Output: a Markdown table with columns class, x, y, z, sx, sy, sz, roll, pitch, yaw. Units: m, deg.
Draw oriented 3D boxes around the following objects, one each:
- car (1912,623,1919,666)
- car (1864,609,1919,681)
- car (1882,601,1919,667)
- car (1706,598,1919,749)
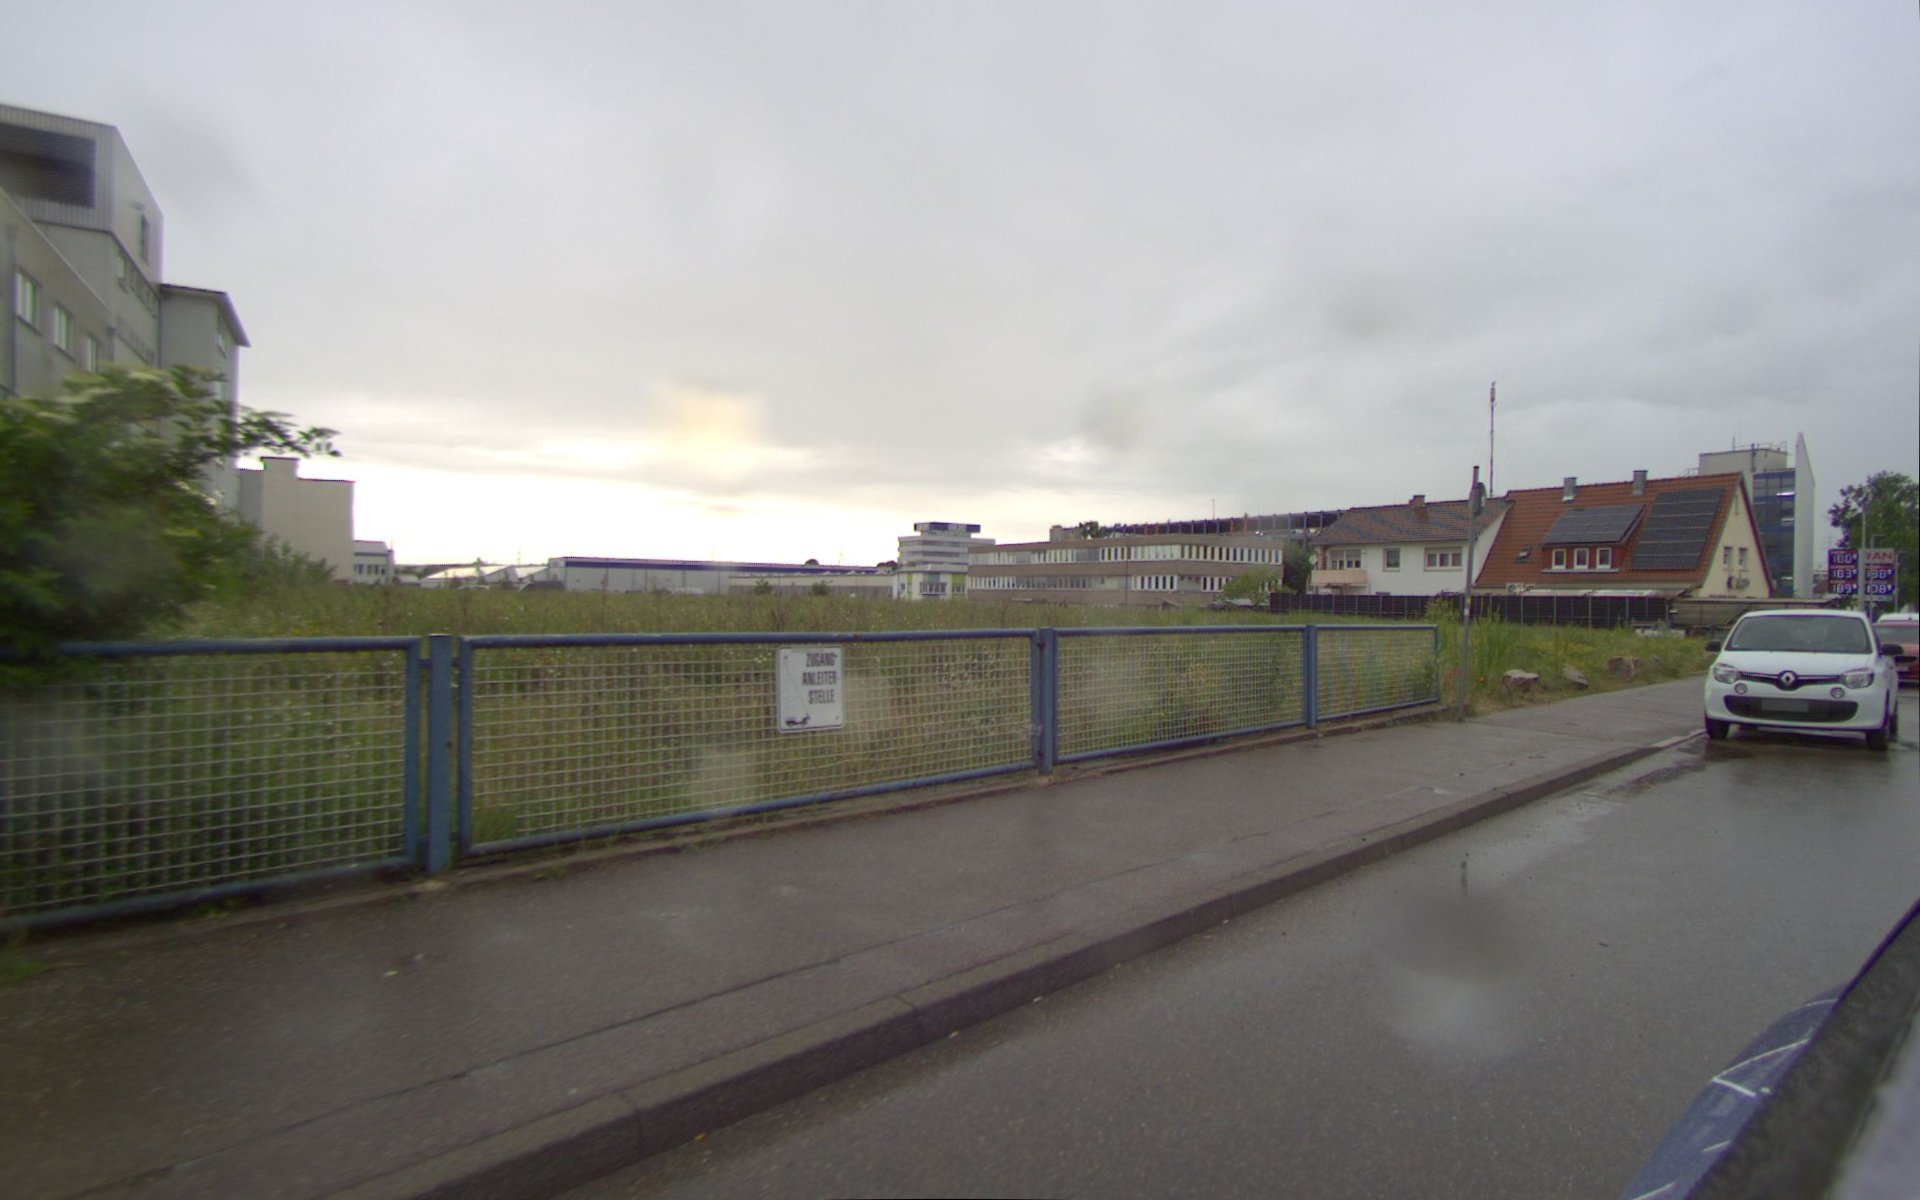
| class | x | y | z | sx | sy | sz | roll | pitch | yaw |
| --- | --- | --- | --- | --- | --- | --- | --- | --- | --- |
| car | 32.631 | 1.465 | 33.270 | 4.249 | 1.353 | 1.770 | 2 | -1 | -44 |
| car | 22.967 | 1.060 | 24.131 | 4.563 | 1.595 | 1.644 | 2 | -1 | -42 |
| car | 28.421 | 0.995 | 29.671 | 4.498 | 1.848 | 1.770 | 2 | -2 | -44 |
| car | 10.581 | 0.795 | 12.463 | 3.613 | 1.577 | 1.682 | 1 | -1 | -44 |
